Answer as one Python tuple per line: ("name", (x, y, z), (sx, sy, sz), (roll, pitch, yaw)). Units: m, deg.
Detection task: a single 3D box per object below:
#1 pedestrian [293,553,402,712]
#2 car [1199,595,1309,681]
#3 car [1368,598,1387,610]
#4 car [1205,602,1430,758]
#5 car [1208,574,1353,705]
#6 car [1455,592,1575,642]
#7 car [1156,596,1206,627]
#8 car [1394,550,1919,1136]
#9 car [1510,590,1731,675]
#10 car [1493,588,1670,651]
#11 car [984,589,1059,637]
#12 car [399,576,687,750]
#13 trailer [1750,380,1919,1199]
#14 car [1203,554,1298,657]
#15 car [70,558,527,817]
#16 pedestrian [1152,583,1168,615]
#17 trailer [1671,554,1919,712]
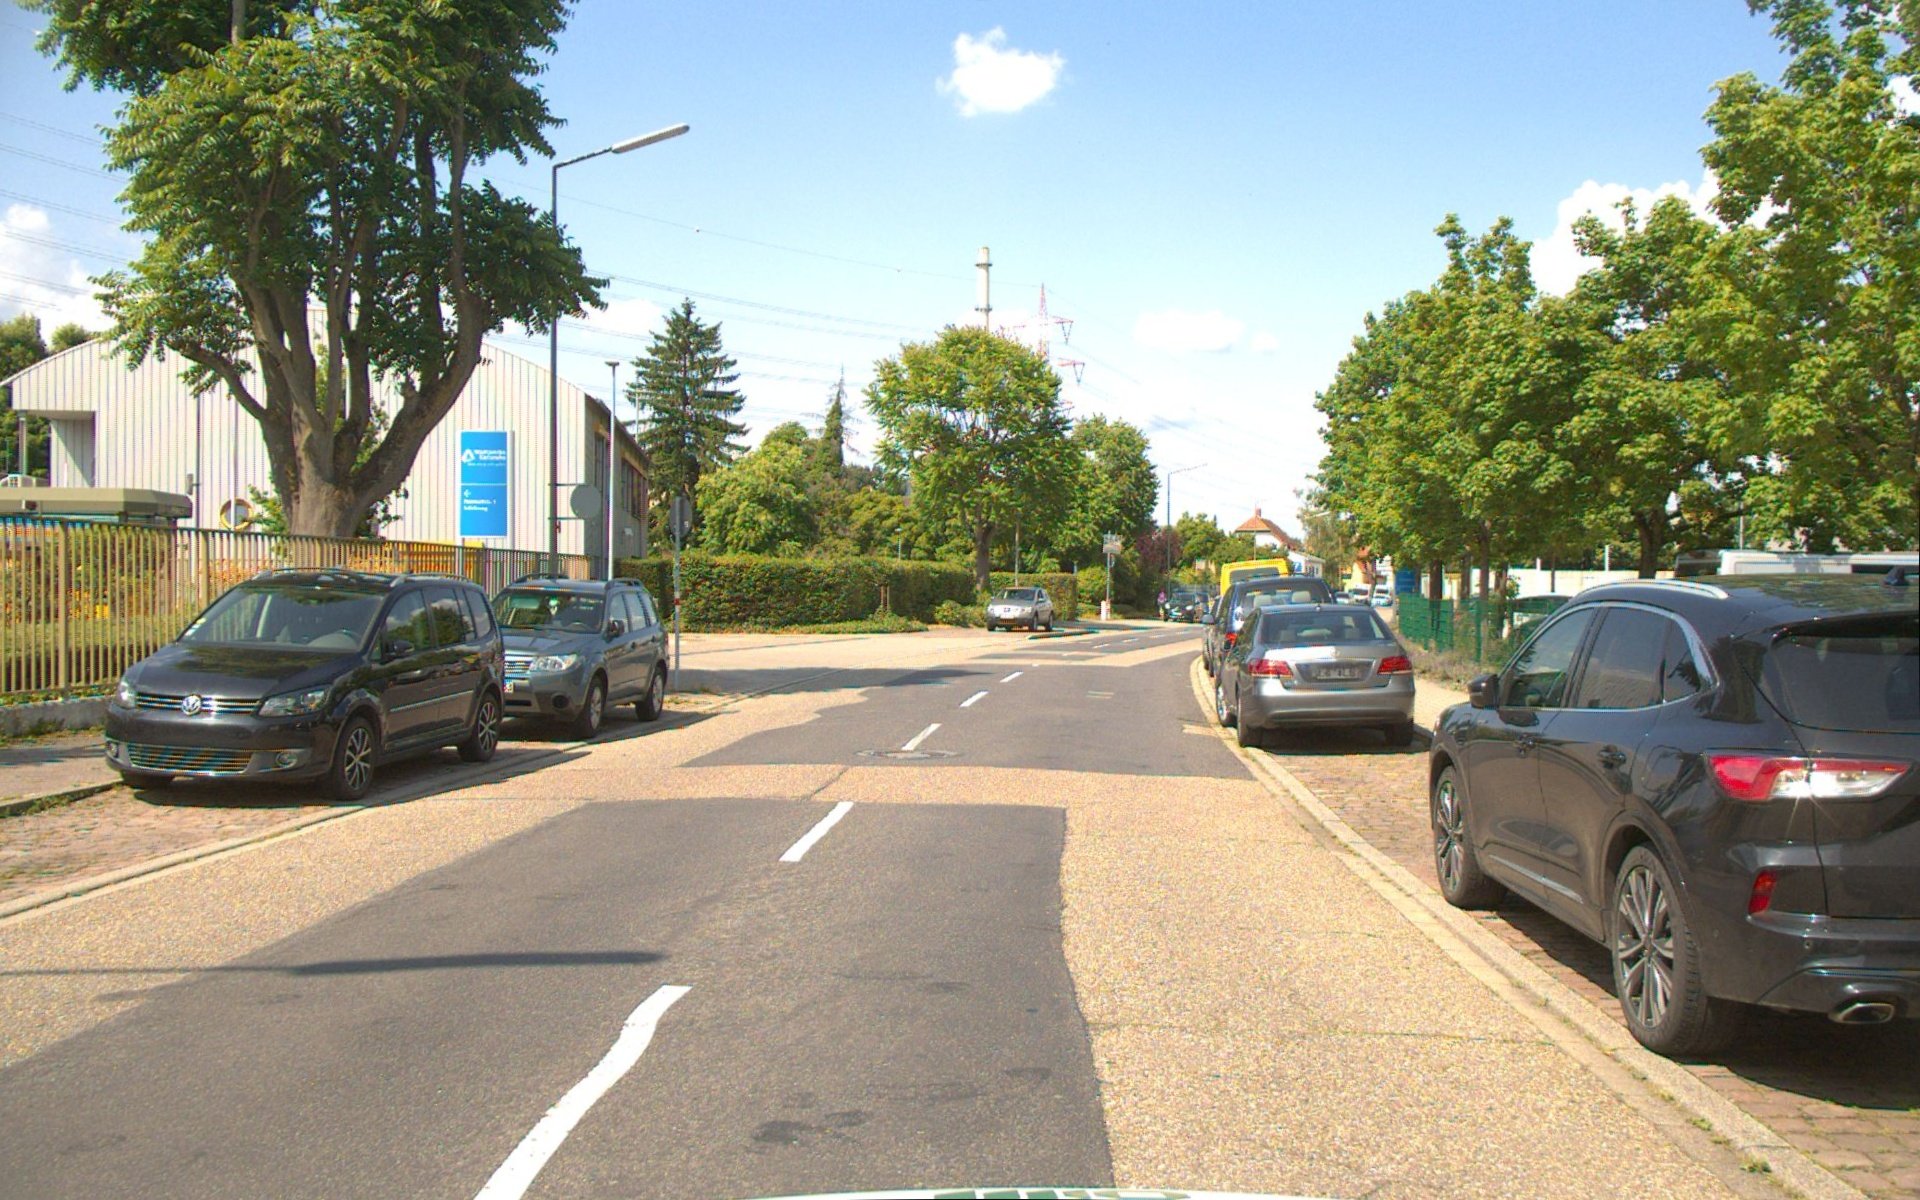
("pedestrian", (-7.158, 0.374, 19.362), (0.810, 1.792, 0.846), (2, 0, 10))
("car", (5.635, 0.690, 32.146), (1.793, 1.518, 4.659), (-1, 0, 6))
("car", (51.413, 0.499, 203.689), (1.759, 1.422, 4.502), (2, 0, 20))
("car", (3.878, 0.798, 18.741), (1.803, 1.486, 4.871), (-1, 0, 4))
("car", (4.874, 0.567, 25.769), (1.810, 1.796, 5.081), (-2, 0, 7))
("car", (18.914, 0.569, 56.418), (3.794, 1.666, 1.910), (0, -1, 19))
("car", (11.759, 0.599, 87.909), (1.807, 1.534, 4.001), (4, 1, 19))
("car", (3.360, 0.692, 7.209), (1.822, 1.712, 4.711), (-2, 0, 2))
("car", (14.746, 0.710, 37.119), (4.234, 1.700, 1.858), (2, 0, 7))
("car", (16.936, 0.536, 45.236), (4.225, 1.650, 1.765), (-1, 0, 7))
("car", (2.272, 0.463, 59.833), (1.720, 1.601, 4.480), (1, 0, 15))
("car", (-4.567, 0.630, 18.895), (1.761, 1.679, 4.692), (2, 0, 4))
("trailer", (3.209, 0.483, 2.920), (1.709, 2.103, 3.948), (-2, 0, 1))
("car", (7.792, 0.165, 43.910), (2.111, 2.508, 6.645), (-1, -1, 13))
("car", (-5.106, 0.594, 13.478), (1.738, 1.711, 4.232), (2, 0, 4))
("pedestrian", (11.434, -0.044, 94.597), (0.693, 1.832, 0.916), (0, -1, 19))
("trailer", (12.936, 0.451, 23.345), (4.940, 2.119, 2.062), (0, 0, 5))
